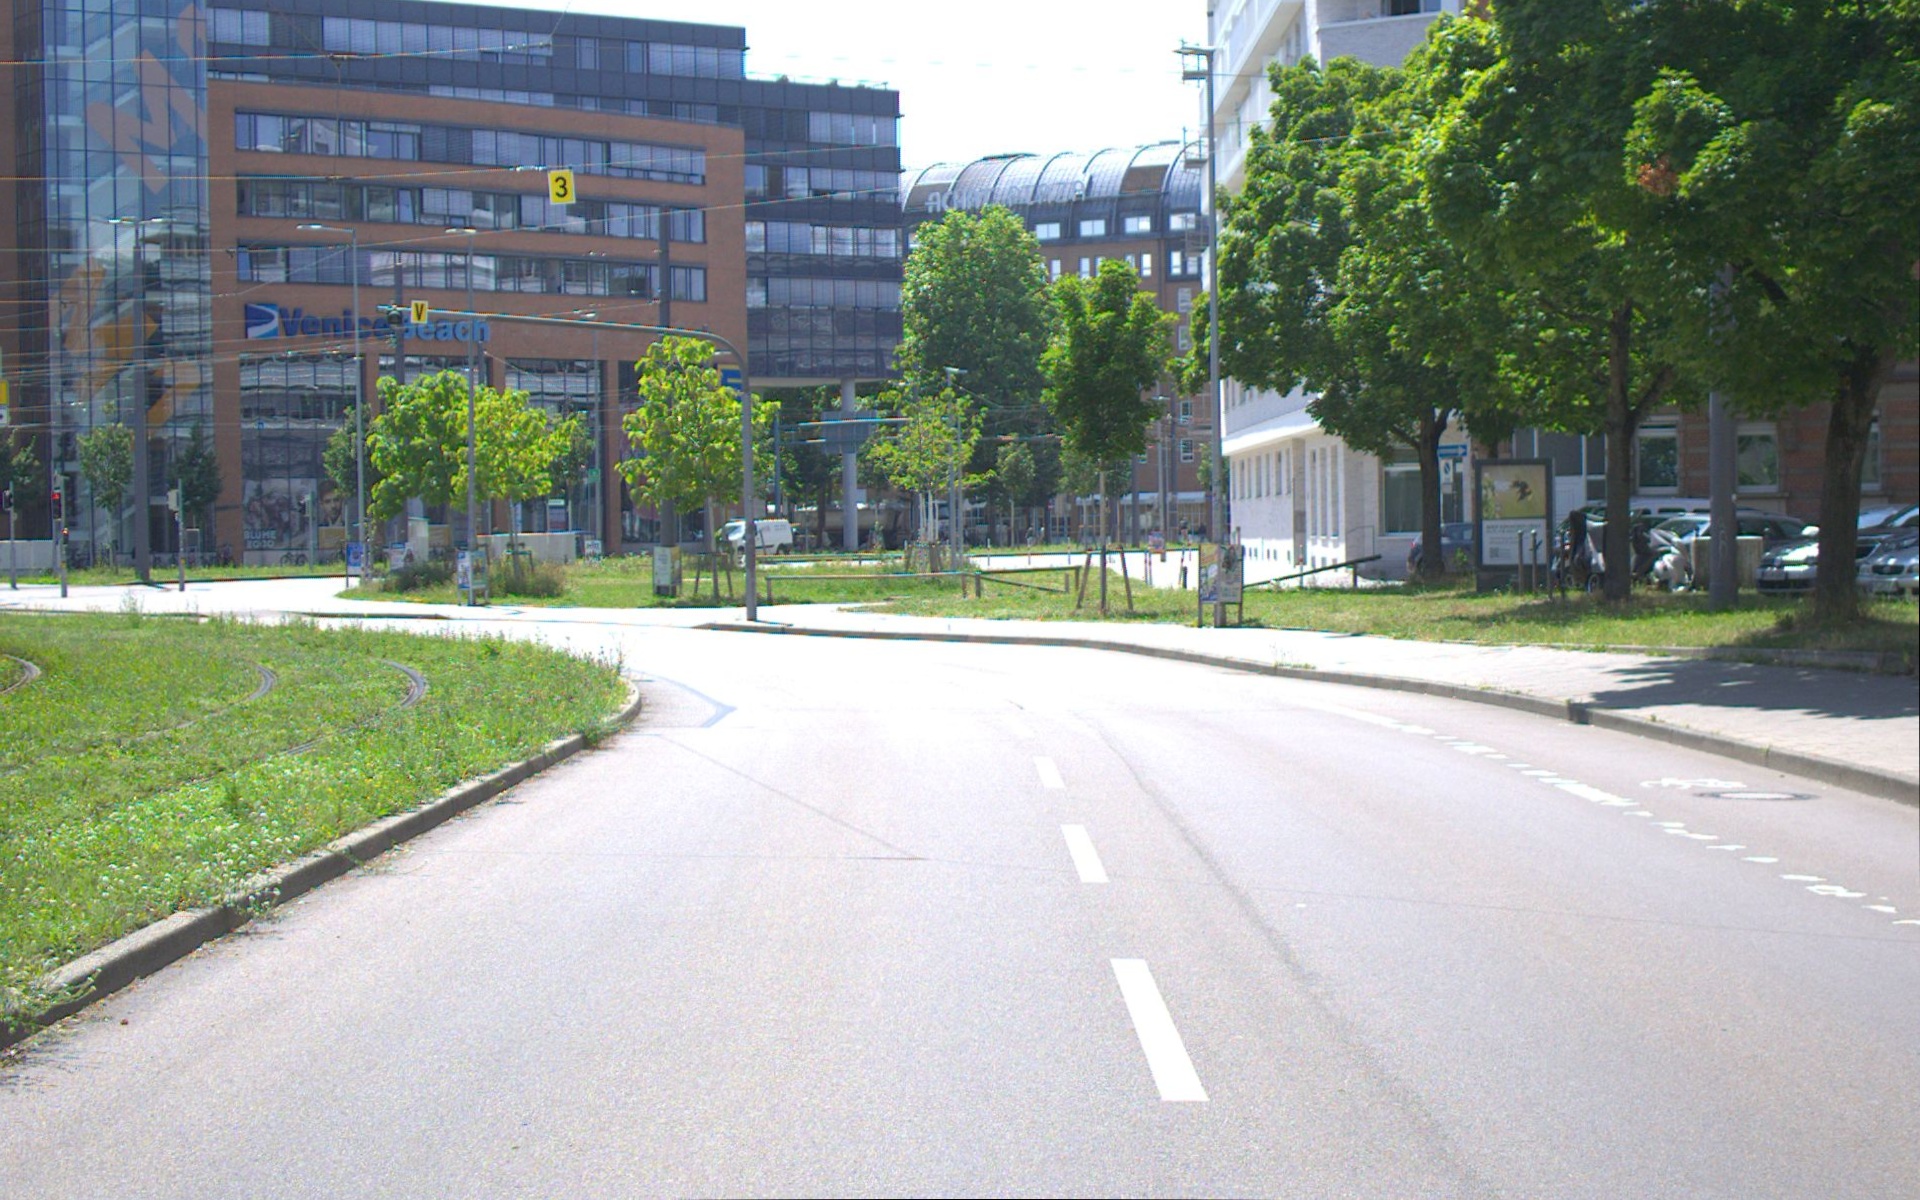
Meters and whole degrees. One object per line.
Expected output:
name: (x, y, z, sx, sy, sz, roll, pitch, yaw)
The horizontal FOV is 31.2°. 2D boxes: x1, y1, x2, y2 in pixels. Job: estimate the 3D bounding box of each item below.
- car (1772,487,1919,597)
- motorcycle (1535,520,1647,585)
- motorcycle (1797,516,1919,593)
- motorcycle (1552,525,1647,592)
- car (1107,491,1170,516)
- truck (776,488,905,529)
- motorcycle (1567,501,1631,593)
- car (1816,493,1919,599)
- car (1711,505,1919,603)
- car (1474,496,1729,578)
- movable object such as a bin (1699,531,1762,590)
car: (13.378, -0.808, 47.340, 4.078, 1.464, 1.798, -1, 2, -27)
motorcycle: (10.866, -0.817, 59.193, 1.821, 1.116, 0.528, 0, 1, -7)
motorcycle: (14.586, -0.740, 55.462, 2.080, 1.232, 0.812, 0, 1, 16)
motorcycle: (10.791, -0.708, 58.027, 1.520, 1.116, 0.478, 0, 1, 0)
car: (12.543, -6.743, 241.111, 3.994, 1.722, 1.863, 1, 2, 31)
truck: (-8.167, -6.234, 233.800, 9.227, 2.799, 1.996, 1, 2, 32)
motorcycle: (10.151, -0.855, 54.627, 0.675, 1.408, 1.856, -2, 2, 1)
car: (13.278, -0.710, 44.240, 3.986, 1.309, 1.973, 0, 2, -22)
car: (13.135, -0.681, 49.837, 4.333, 1.371, 1.583, -1, 2, -26)
car: (12.728, -1.259, 68.166, 4.858, 1.595, 1.836, -1, 2, -27)
movable object such as a bin: (12.494, -0.645, 55.770, 0.986, 0.934, 0.701, 0, 1, 12)
